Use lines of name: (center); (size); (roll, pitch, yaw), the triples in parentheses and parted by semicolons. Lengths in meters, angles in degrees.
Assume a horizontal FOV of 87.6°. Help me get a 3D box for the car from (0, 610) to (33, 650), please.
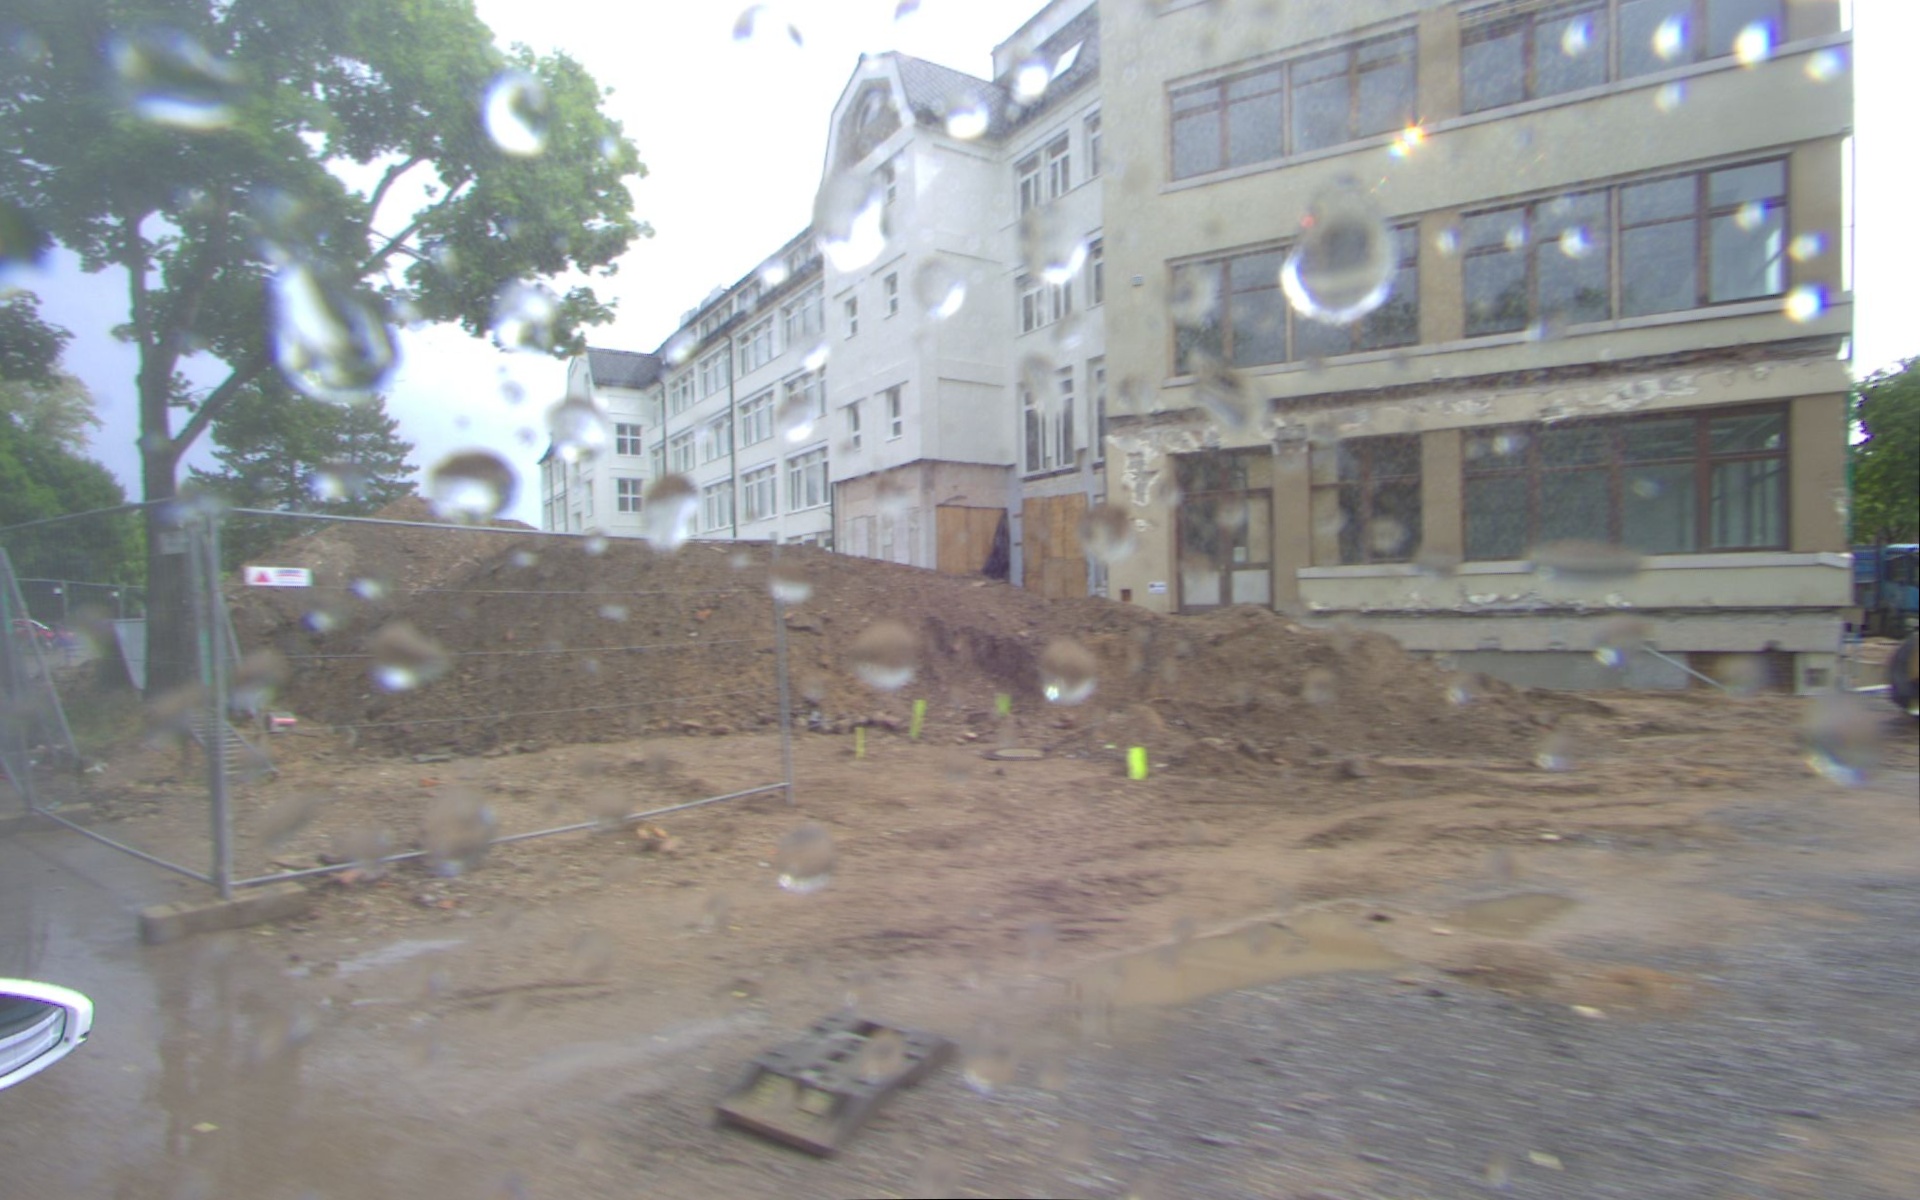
car: (-42.414, 1.257, 42.713); (4.074, 1.672, 1.831); (1, 0, -39)

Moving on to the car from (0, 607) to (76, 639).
car: (-48.572, 1.210, 52.044); (3.824, 1.594, 1.942); (1, 0, -38)

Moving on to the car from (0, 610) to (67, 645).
car: (-45.478, 1.303, 47.874); (3.952, 1.580, 1.750); (1, 0, -37)

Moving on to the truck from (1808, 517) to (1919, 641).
truck: (31.001, -0.509, 32.649); (3.193, 3.574, 9.868); (1, 0, 29)

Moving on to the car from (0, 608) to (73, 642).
car: (-47.004, 1.249, 50.363); (3.560, 1.642, 1.853); (1, 0, -41)

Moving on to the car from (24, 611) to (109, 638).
car: (-55.866, 1.507, 62.693); (3.824, 1.594, 1.942); (1, 0, -38)

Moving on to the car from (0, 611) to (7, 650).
car: (-39.535, 1.178, 38.587); (3.755, 1.549, 1.897); (1, 0, -33)

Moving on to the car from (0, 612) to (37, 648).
car: (-43.745, 1.325, 44.434); (3.909, 1.537, 1.791); (1, 0, -39)

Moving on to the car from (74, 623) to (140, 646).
car: (-65.818, 2.647, 77.329); (3.720, 1.661, 1.659); (1, 0, -38)

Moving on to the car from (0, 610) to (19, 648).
car: (-40.839, 1.152, 40.364); (3.948, 1.516, 1.980); (1, 0, -34)
